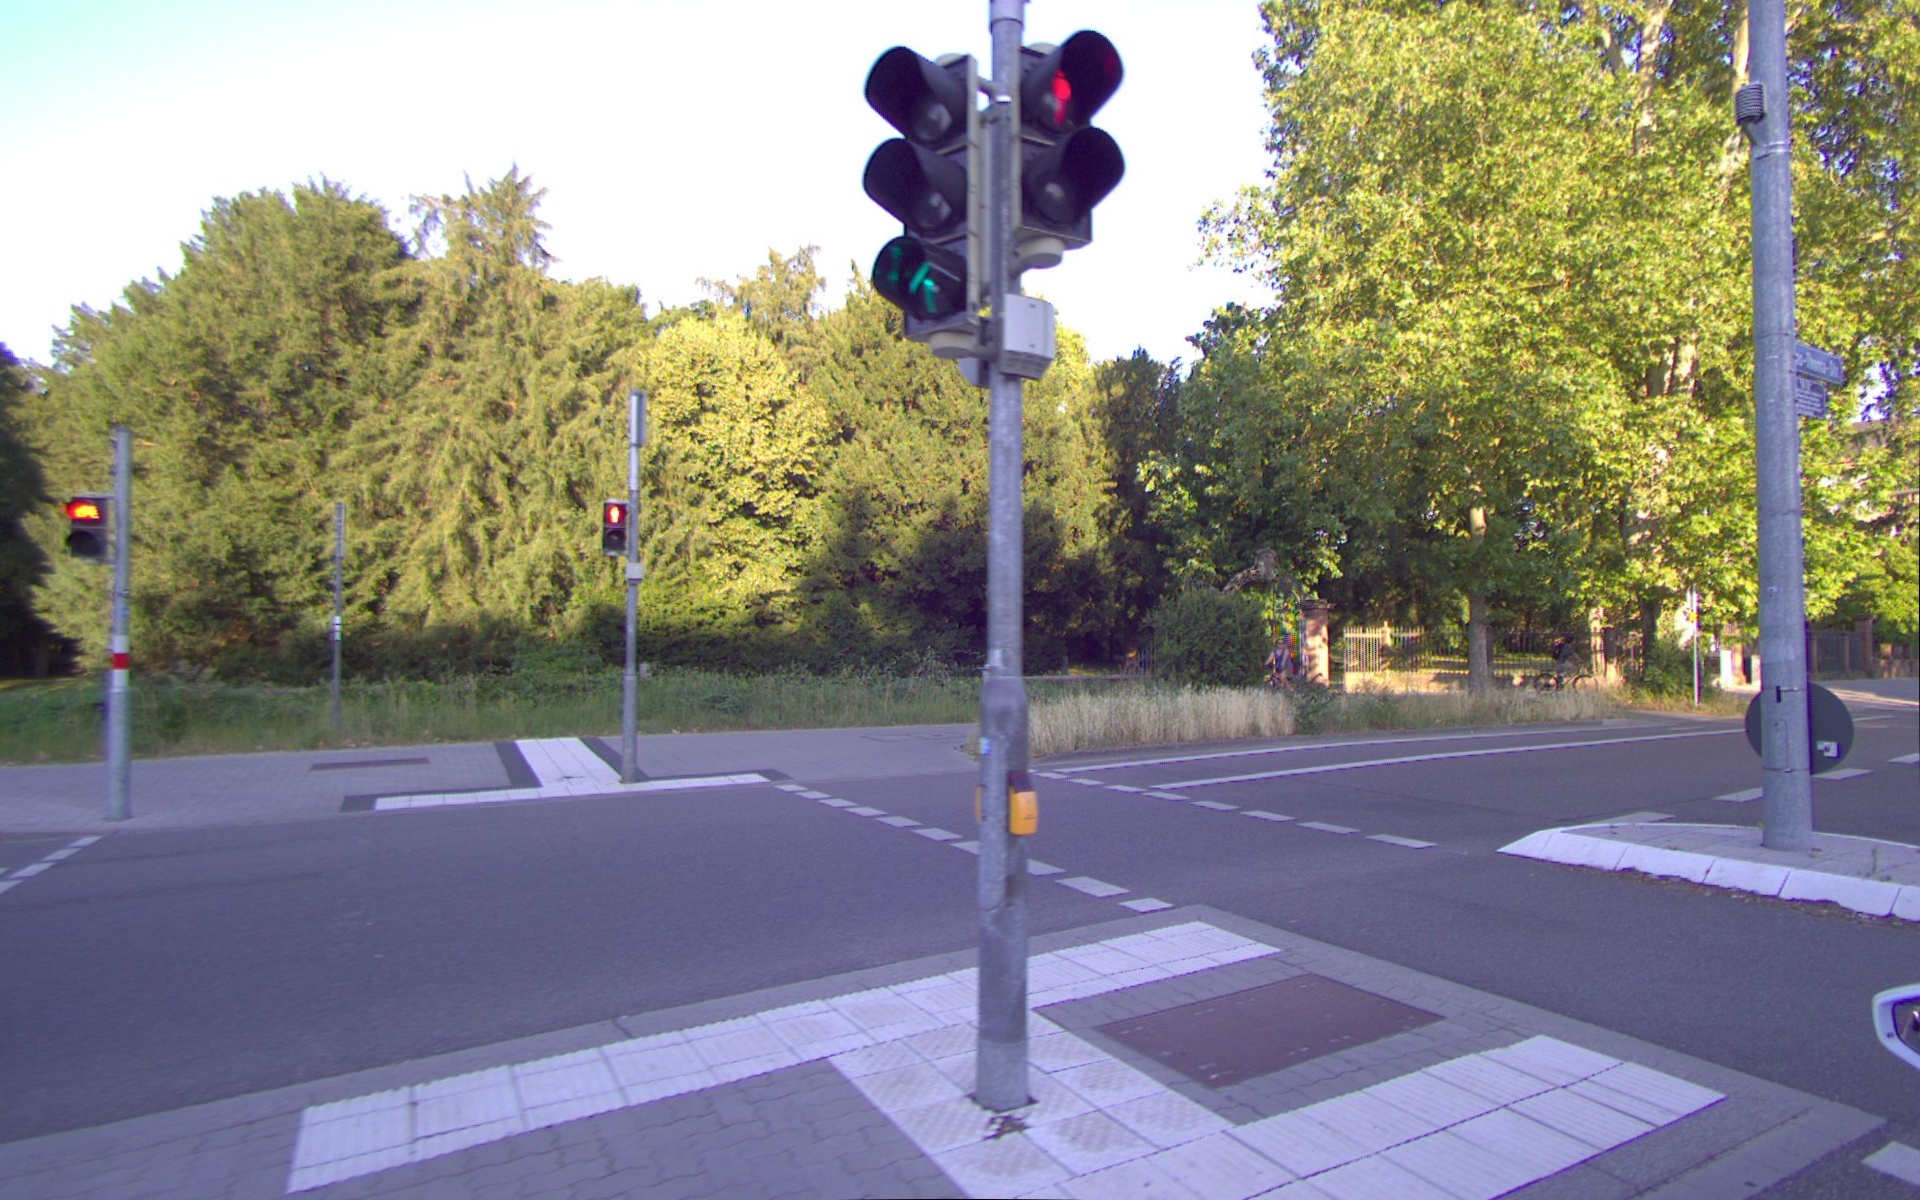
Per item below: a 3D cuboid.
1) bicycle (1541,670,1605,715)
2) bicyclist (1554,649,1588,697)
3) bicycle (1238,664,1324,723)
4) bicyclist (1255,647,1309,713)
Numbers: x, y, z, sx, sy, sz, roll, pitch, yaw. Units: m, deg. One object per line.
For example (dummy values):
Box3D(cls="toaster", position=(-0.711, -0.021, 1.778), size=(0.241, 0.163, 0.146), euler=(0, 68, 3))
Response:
Box3D(cls="bicycle", position=(18.261, 2.747, 29.968), size=(1.604, 1.245, 0.572), euler=(-1, -2, 30))
Box3D(cls="bicyclist", position=(18.257, 2.173, 30.019), size=(0.824, 1.379, 0.572), euler=(-1, -2, 30))
Box3D(cls="bicycle", position=(7.308, 2.106, 22.850), size=(1.957, 1.273, 0.785), euler=(2, -2, -31))
Box3D(cls="bicyclist", position=(7.327, 1.804, 22.868), size=(0.882, 1.445, 0.785), euler=(2, -2, -30))
